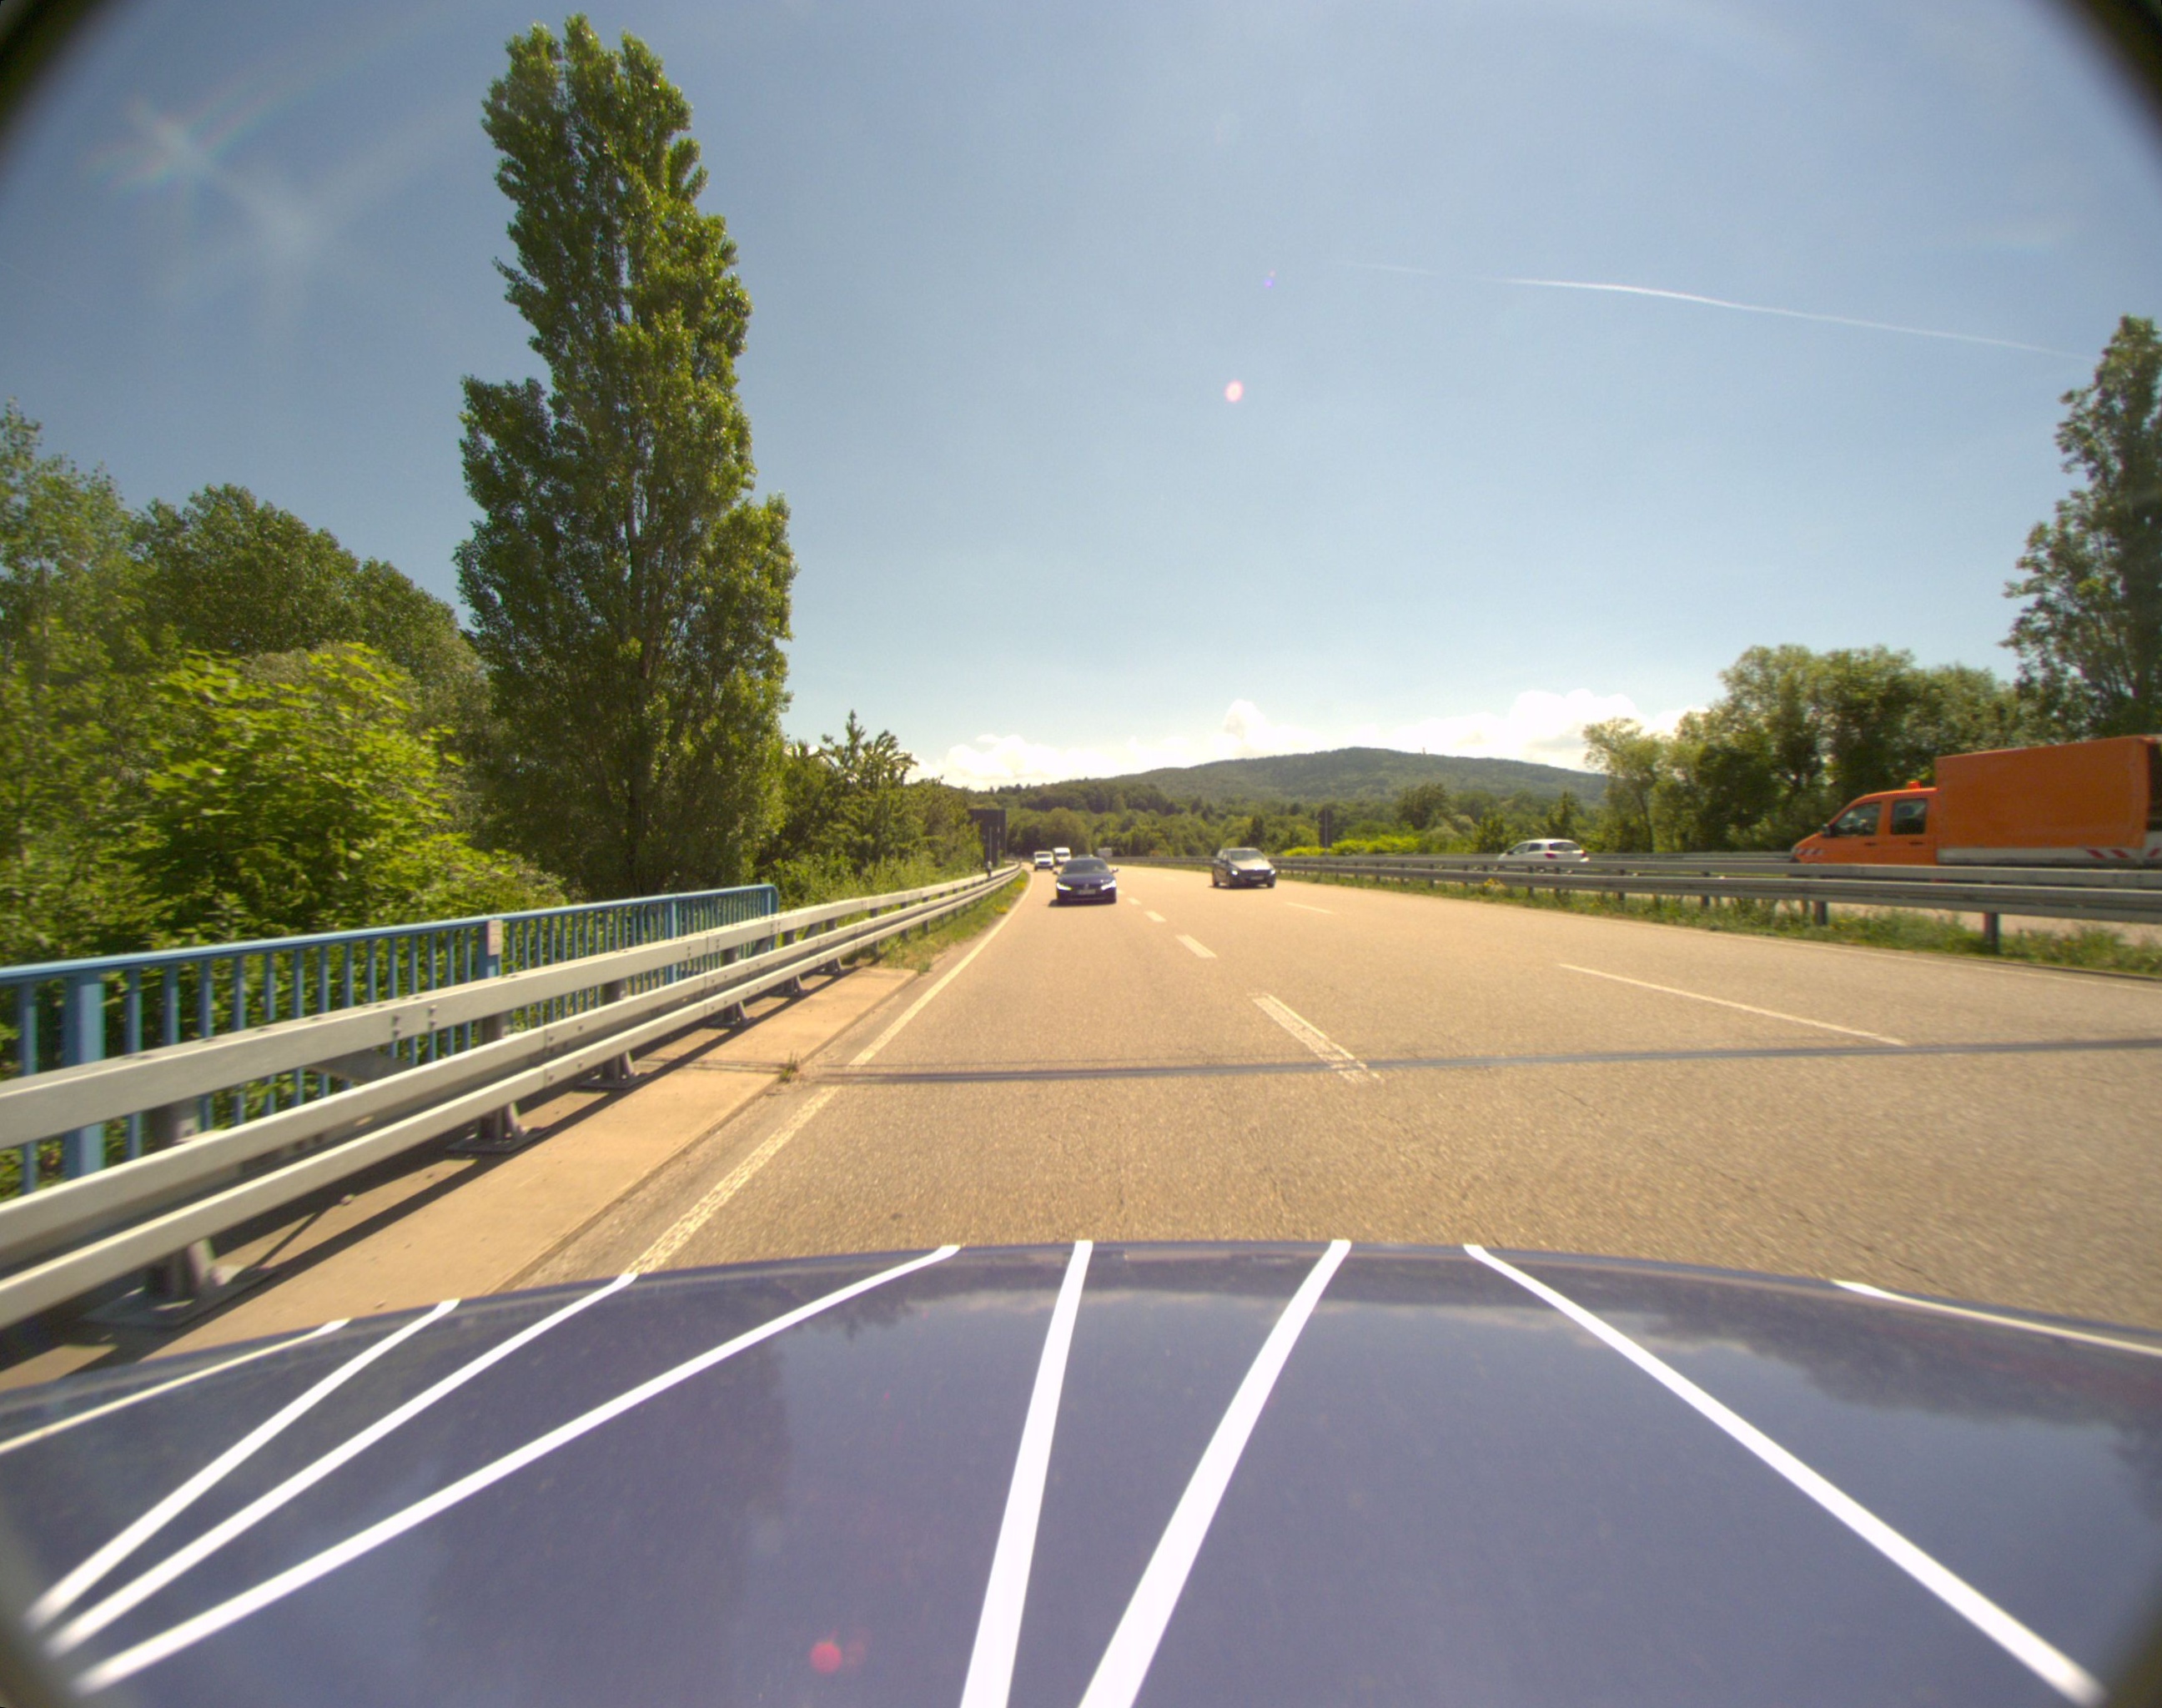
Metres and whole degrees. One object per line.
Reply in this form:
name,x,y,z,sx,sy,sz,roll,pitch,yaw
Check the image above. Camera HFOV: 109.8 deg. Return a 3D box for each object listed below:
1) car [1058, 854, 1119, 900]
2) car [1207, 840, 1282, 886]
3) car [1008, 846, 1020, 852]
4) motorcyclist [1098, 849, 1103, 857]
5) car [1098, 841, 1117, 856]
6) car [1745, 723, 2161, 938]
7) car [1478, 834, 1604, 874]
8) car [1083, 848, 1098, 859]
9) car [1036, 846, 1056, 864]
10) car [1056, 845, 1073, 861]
car,0.352,0.751,26.837,1.845,1.399,4.471,-2,0,4
car,6.438,0.294,30.488,1.798,1.658,4.552,-3,1,-2
car,-21.461,-1.657,243.681,2.214,1.882,4.901,-1,2,-24
motorcyclist,3.430,-0.130,133.224,0.793,1.426,0.767,-1,2,-4
car,5.143,-1.194,147.293,2.286,2.758,7.214,-1,2,-9
car,17.394,-0.401,15.064,2.311,3.273,7.027,-1,1,0
car,17.911,-0.040,29.904,1.858,1.424,4.792,-1,1,-4
car,1.302,-0.126,106.191,1.846,1.400,4.468,-2,1,-2
car,-3.680,0.122,79.446,1.885,1.724,4.467,-2,1,-4
car,-2.111,-0.119,100.355,2.008,1.988,4.578,-1,1,1
